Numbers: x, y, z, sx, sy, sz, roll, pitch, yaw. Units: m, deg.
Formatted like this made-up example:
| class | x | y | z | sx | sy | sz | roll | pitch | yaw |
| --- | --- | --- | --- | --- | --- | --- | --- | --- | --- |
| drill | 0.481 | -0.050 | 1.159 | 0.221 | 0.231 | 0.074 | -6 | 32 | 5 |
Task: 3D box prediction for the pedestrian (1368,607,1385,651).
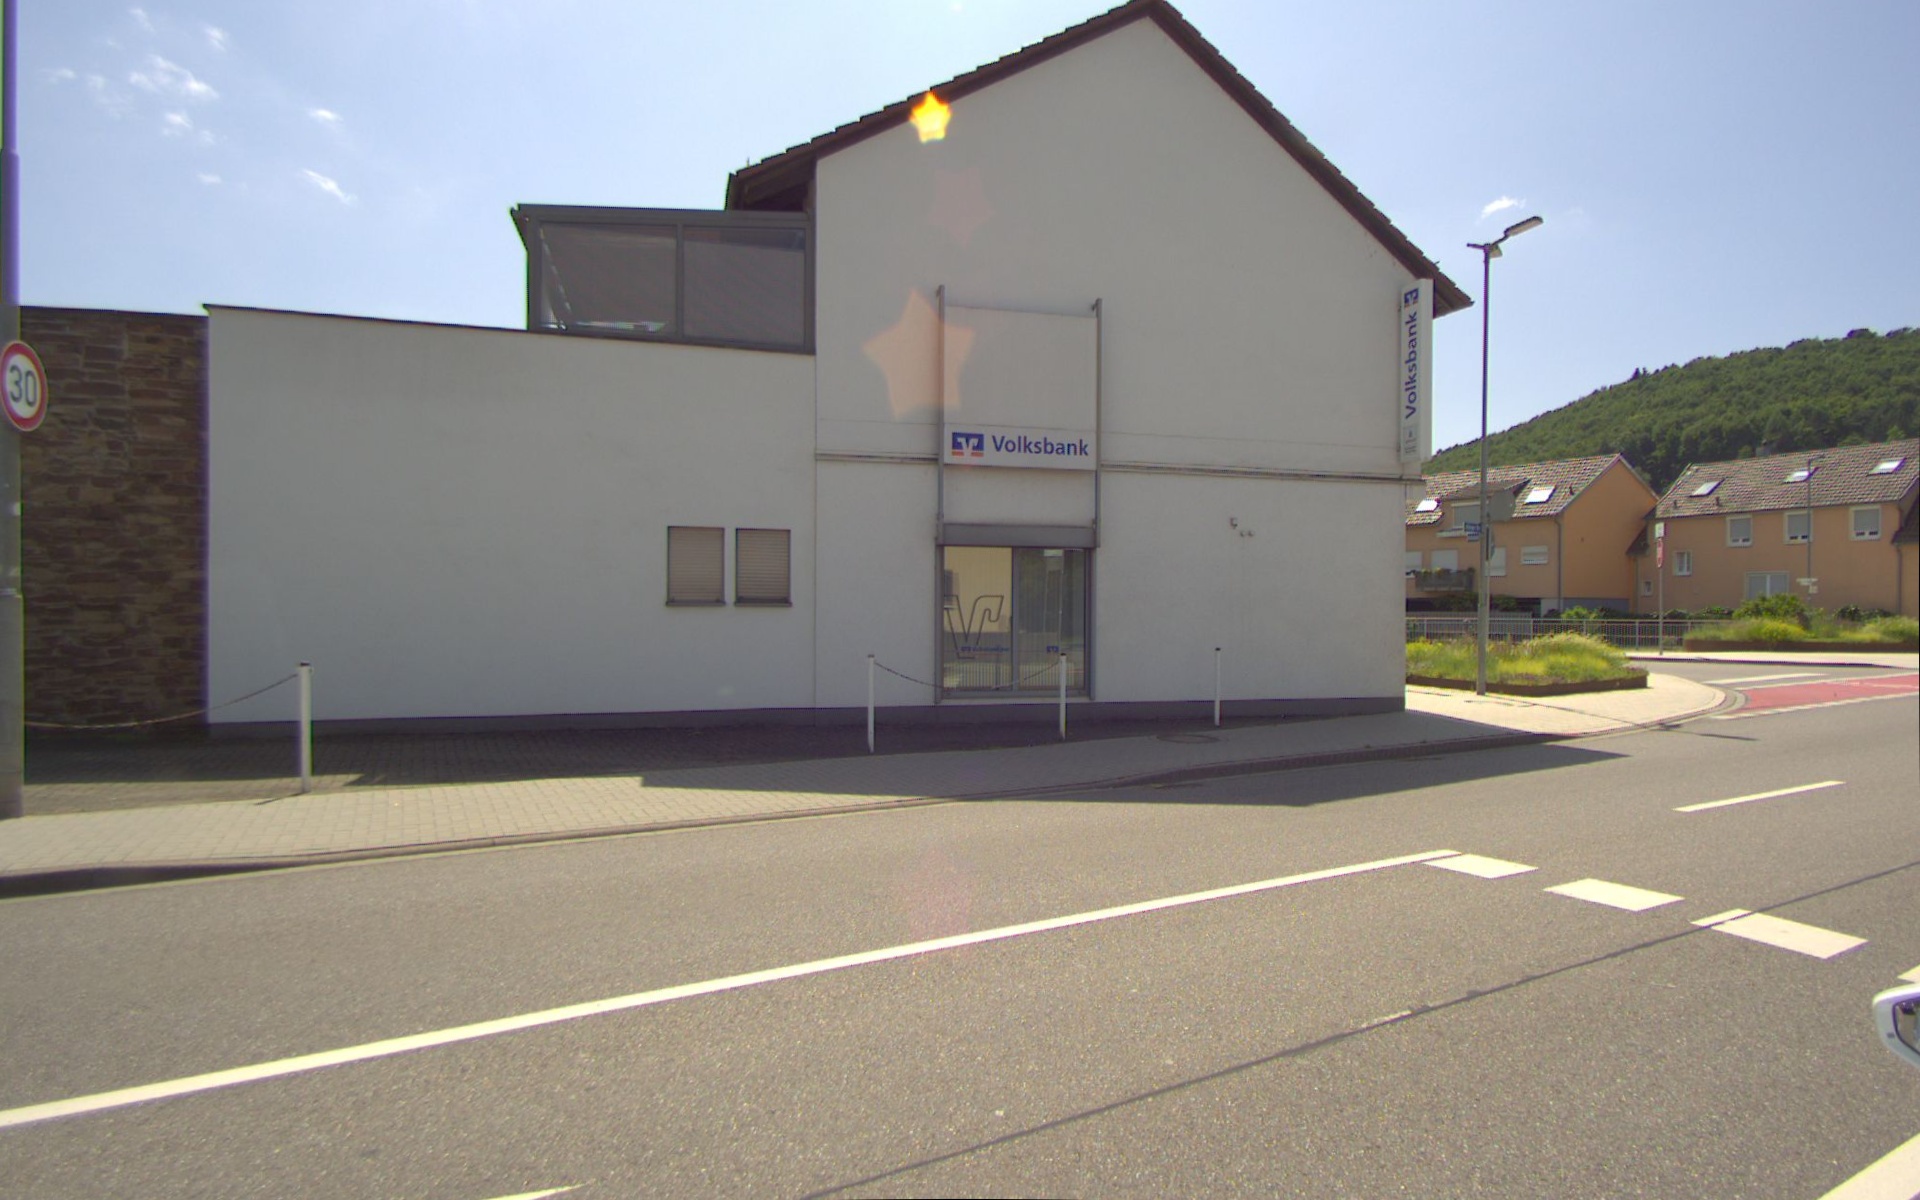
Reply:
| class | x | y | z | sx | sy | sz | roll | pitch | yaw |
| --- | --- | --- | --- | --- | --- | --- | --- | --- | --- |
| pedestrian | 16.744 | 1.155 | 40.408 | 0.603 | 1.772 | 0.506 | 0 | 0 | 23 |
